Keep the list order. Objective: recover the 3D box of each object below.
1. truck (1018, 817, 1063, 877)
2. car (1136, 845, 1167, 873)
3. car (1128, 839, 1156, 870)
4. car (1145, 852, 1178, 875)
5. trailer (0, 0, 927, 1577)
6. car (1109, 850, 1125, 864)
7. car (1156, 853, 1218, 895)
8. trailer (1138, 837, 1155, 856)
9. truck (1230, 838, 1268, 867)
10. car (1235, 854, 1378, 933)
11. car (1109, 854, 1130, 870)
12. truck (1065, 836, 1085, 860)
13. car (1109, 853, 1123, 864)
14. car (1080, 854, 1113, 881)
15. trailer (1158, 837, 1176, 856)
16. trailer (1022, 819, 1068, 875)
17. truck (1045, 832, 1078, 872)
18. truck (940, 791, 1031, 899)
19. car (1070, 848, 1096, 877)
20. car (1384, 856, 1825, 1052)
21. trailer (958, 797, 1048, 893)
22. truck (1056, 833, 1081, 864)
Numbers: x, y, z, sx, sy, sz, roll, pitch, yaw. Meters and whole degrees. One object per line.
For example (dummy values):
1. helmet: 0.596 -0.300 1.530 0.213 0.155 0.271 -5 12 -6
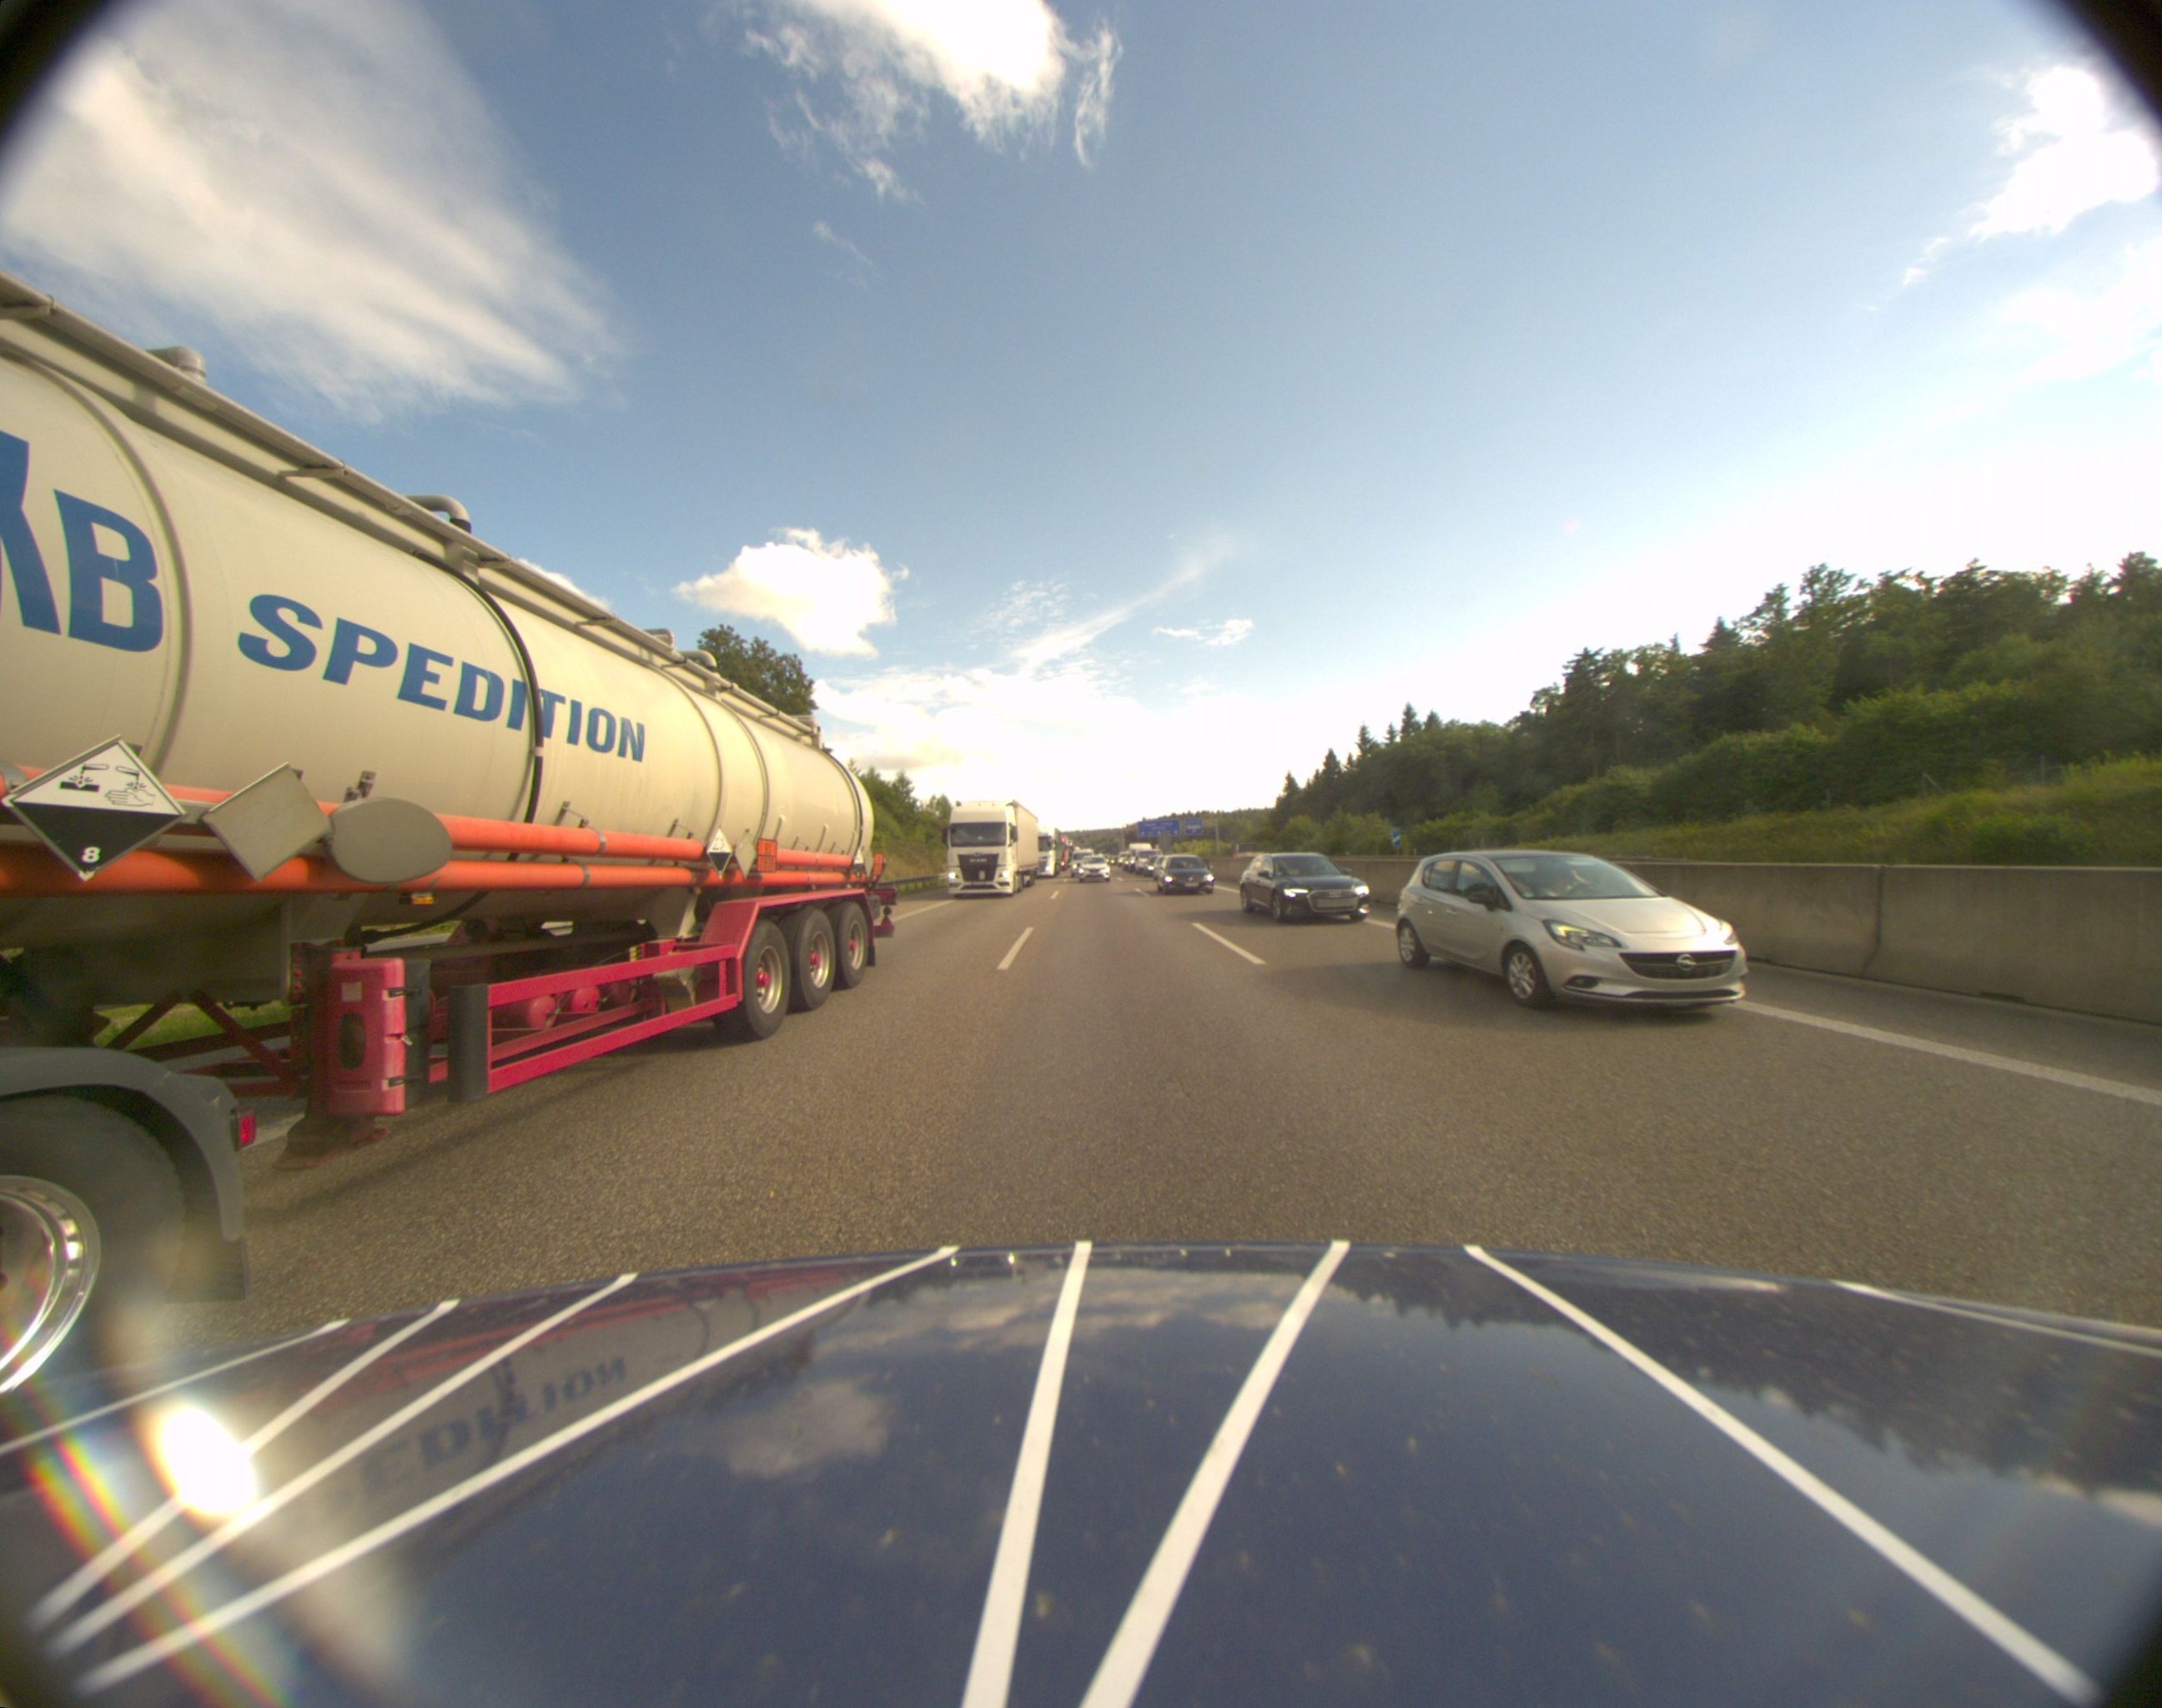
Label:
1. truck: -2.962 -0.496 56.950 2.841 4.177 5.707 -2 0 1
2. car: 5.357 0.365 58.479 1.947 1.953 4.847 -2 0 1
3. car: 5.309 0.020 67.029 2.054 2.557 5.861 -1 0 1
4. car: 5.422 0.629 51.761 1.809 1.423 3.994 -2 0 1
5. trailer: -3.950 -0.253 6.035 2.805 4.003 11.182 -2 0 1
6. car: 4.727 0.371 99.642 1.920 1.785 3.811 -2 0 1
7. car: 4.033 0.715 29.533 1.915 1.469 4.569 -2 0 3
8. trailer: 18.135 -2.058 211.403 3.096 5.044 13.832 -2 1 0
9. truck: 17.502 -0.173 79.361 2.429 2.838 6.430 -2 0 0
10. car: 4.888 0.767 17.246 1.887 1.463 4.852 -2 0 1
11. car: 3.697 0.746 73.526 1.809 1.423 3.660 -2 0 1
12. truck: -1.021 -1.161 139.901 2.840 4.178 12.045 -2 1 2
13. car: 5.401 0.644 117.037 1.920 1.535 3.811 -2 0 1
14. car: 0.908 0.765 45.678 1.809 1.488 4.666 -1 0 1
15. trailer: 22.370 -1.960 199.041 2.934 4.802 14.651 -2 1 0
16. trailer: -2.838 -0.534 64.393 2.841 4.177 13.613 -2 0 1
17. truck: -2.080 -0.328 86.849 2.840 4.178 12.045 -2 1 2
18. truck: -3.833 -0.357 31.763 2.841 4.048 5.707 -2 1 1
19. car: 0.169 0.623 58.266 1.809 2.052 4.770 -2 0 1
20. car: 4.809 0.767 7.825 1.751 1.457 4.040 -1 0 0
21. trailer: -3.657 -0.426 39.279 2.833 4.047 13.372 -2 0 1
22. truck: -1.801 -0.882 111.585 2.840 4.178 12.045 -2 1 2
